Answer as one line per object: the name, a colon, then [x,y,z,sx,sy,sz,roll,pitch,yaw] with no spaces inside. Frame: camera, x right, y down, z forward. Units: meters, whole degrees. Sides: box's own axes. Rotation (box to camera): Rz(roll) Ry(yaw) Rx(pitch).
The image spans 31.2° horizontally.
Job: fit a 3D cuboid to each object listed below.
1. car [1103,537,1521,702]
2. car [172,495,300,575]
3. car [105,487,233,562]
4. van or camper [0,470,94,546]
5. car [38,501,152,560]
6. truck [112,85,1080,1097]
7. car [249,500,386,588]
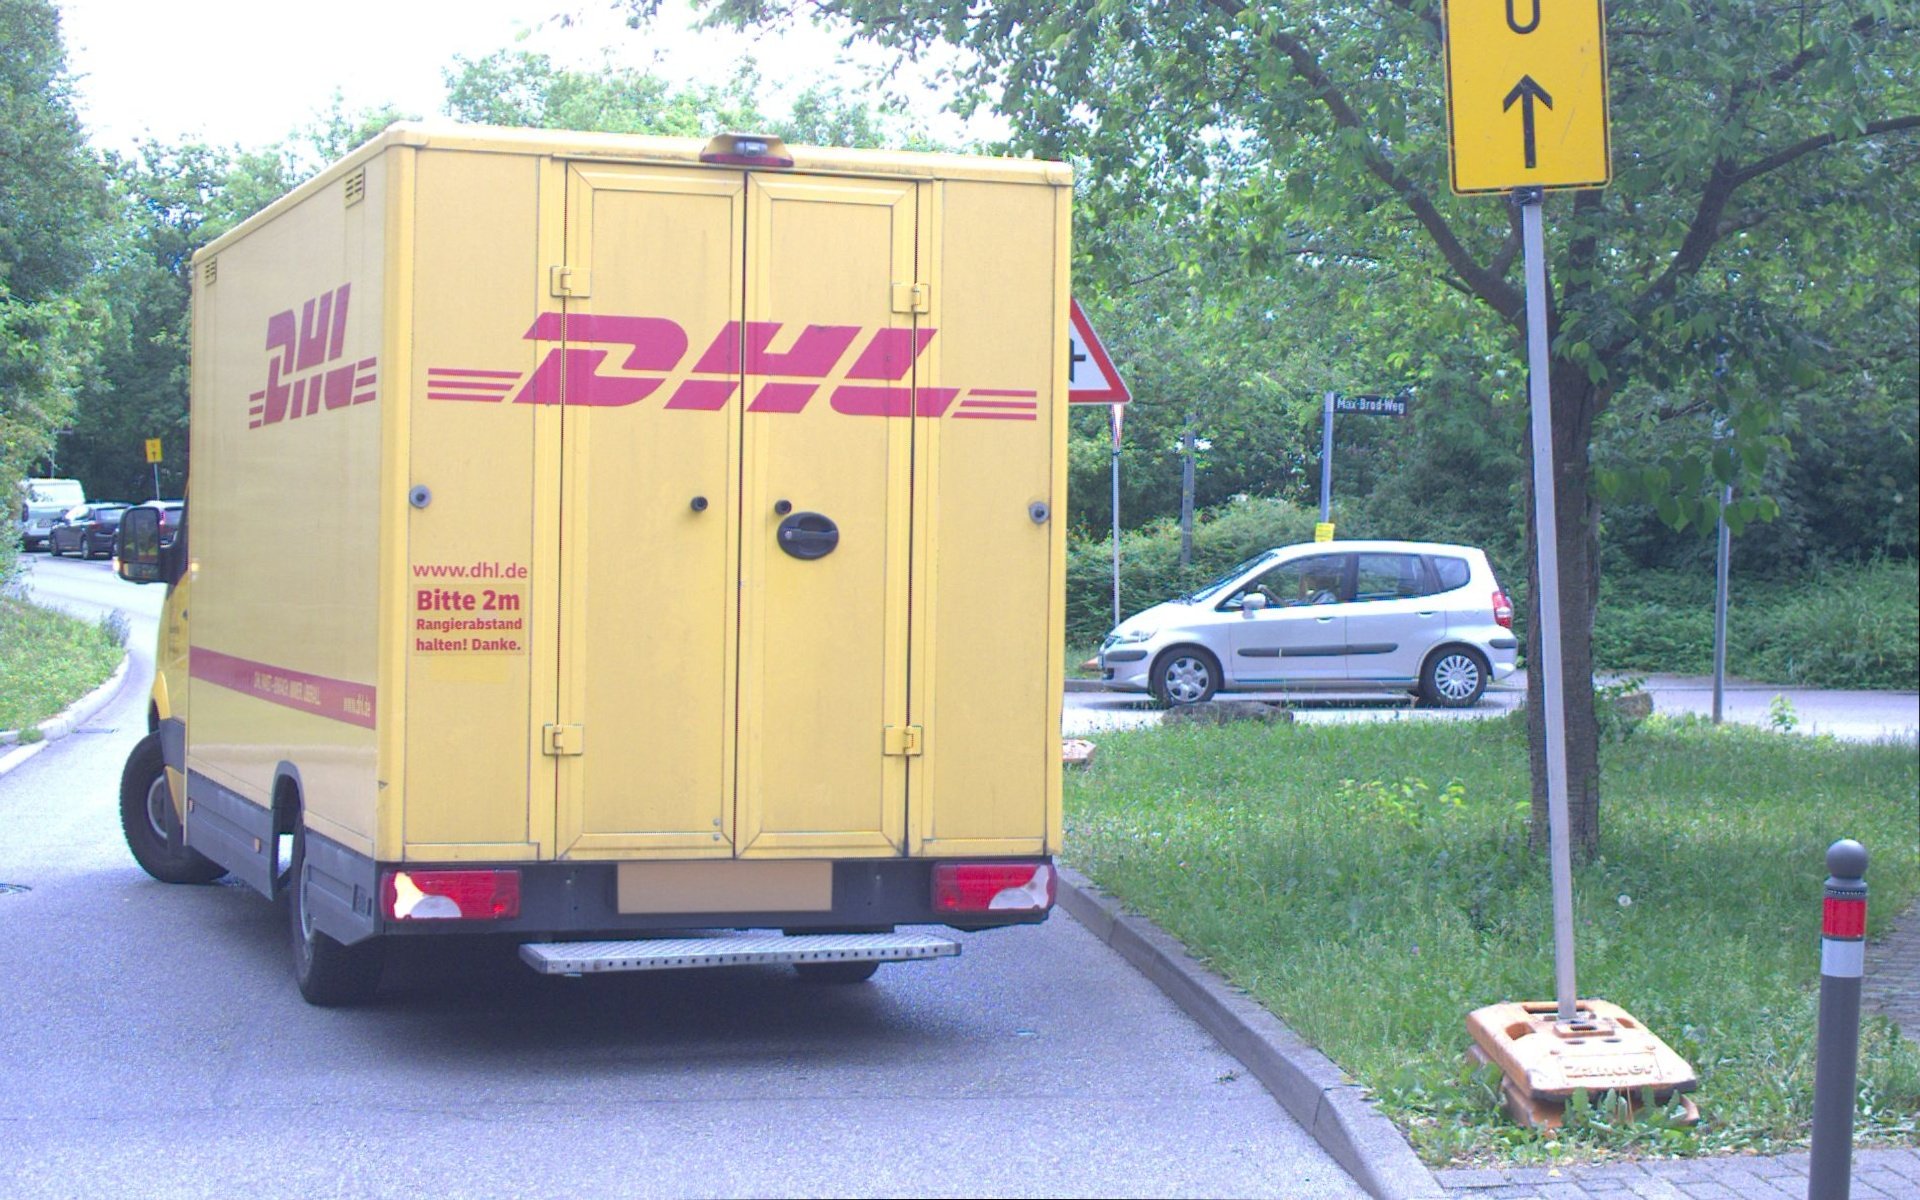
car: [3.194,0.167,31.732,3.640,1.451,1.847,1,0,-1]
car: [-16.664,-1.511,79.005,1.871,1.683,4.580,0,2,-25]
car: [-19.415,-1.870,84.249,1.993,1.620,4.279,-3,4,-27]
van or camper: [-25.956,-2.578,95.330,1.994,1.913,5.265,-3,4,-35]
car: [-22.700,-1.838,90.150,1.798,1.459,4.000,-1,3,-32]
truck: [-1.762,-0.085,12.975,2.225,2.799,6.574,0,1,-19]
car: [-13.582,-1.216,72.563,1.711,1.585,4.001,-8,5,-25]
